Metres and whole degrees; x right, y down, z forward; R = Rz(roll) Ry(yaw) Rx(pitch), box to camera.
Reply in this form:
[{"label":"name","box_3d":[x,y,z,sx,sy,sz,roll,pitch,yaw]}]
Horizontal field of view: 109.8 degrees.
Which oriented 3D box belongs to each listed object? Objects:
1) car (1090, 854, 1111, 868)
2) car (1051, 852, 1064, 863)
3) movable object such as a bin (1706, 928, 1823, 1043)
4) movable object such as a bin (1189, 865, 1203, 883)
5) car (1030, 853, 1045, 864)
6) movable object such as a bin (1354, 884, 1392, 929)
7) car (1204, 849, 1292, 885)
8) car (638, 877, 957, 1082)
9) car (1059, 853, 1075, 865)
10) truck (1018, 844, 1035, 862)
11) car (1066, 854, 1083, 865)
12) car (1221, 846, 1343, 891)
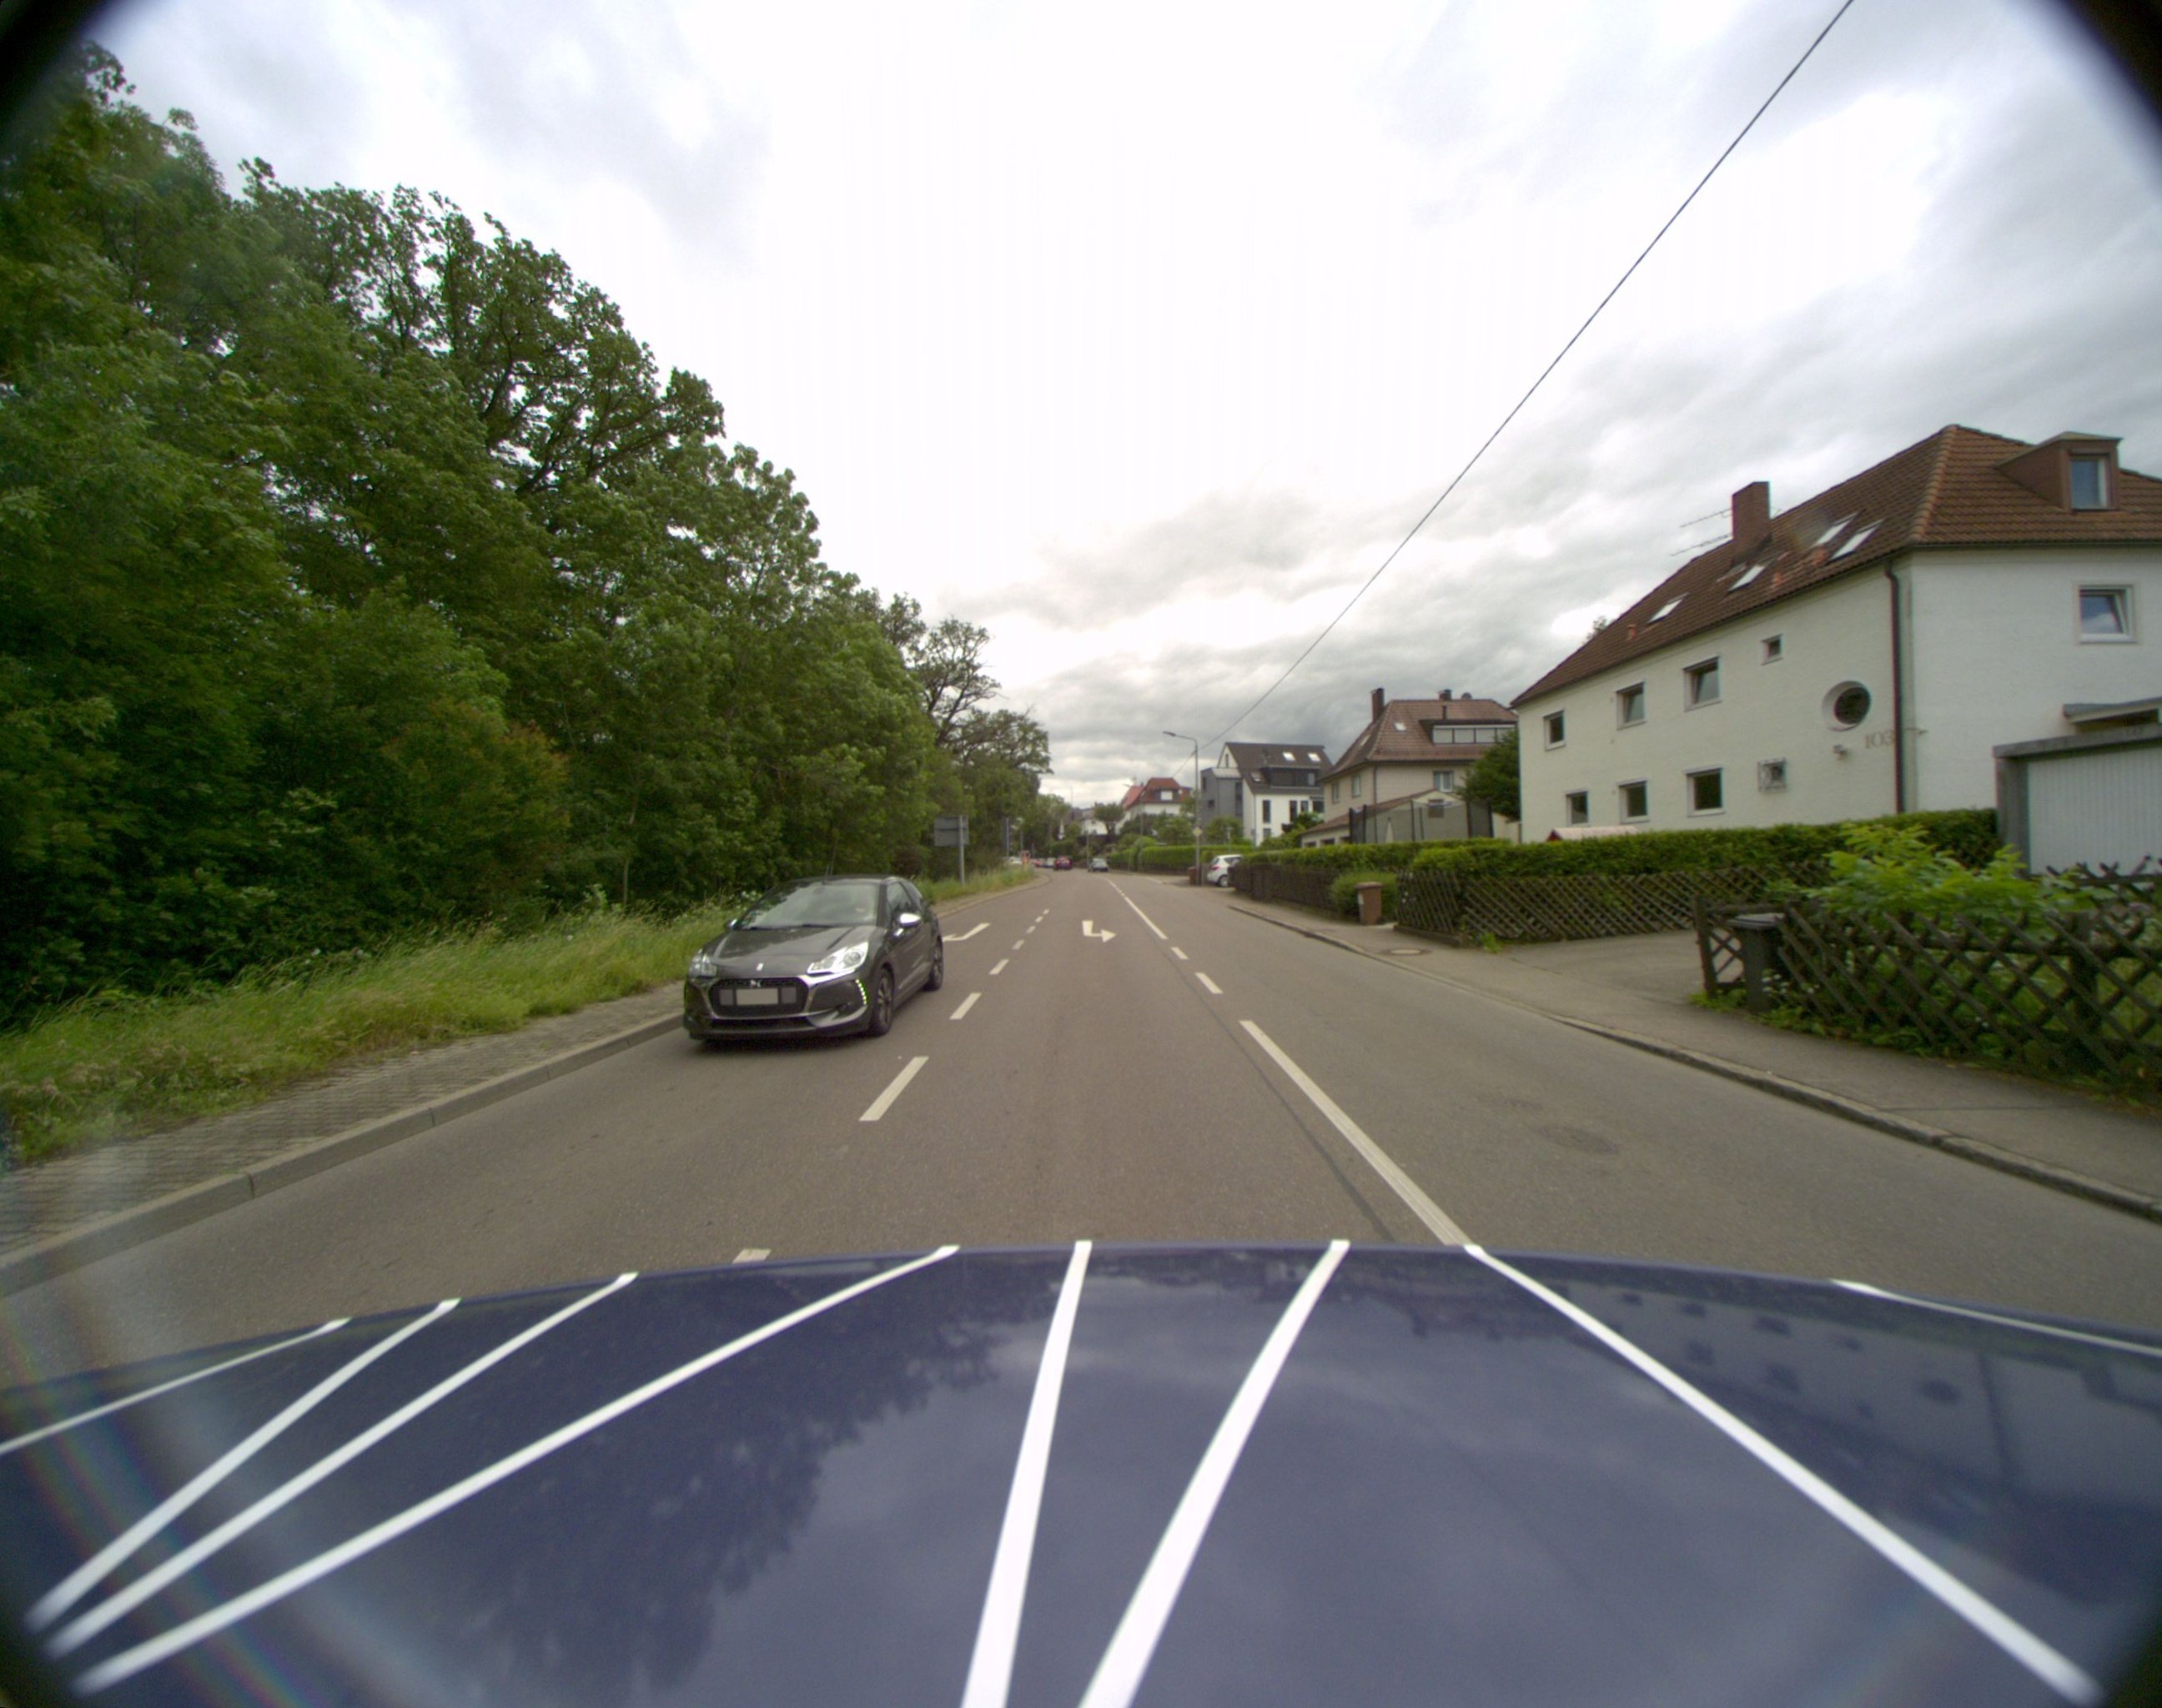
[{"label":"car","box_3d":[2.116,0.742,83.797,1.840,1.514,3.998,-1,0,-5]},{"label":"car","box_3d":[-3.709,0.496,121.154,1.833,1.665,3.997,-1,1,-5]},{"label":"movable object such as a bin","box_3d":[6.062,1.151,6.764,0.551,0.933,0.537,-1,1,2]},{"label":"movable object such as a bin","box_3d":[6.260,1.069,41.406,0.689,0.948,0.572,-1,1,11]},{"label":"car","box_3d":[-7.208,0.787,124.430,2.000,1.749,3.996,-1,0,-10]},{"label":"movable object such as a bin","box_3d":[6.238,1.110,16.237,0.634,0.907,0.561,-2,0,11]},{"label":"car","box_3d":[8.378,0.637,38.257,3.997,1.584,1.718,-3,0,1]},{"label":"car","box_3d":[-2.570,1.058,7.952,1.730,1.449,3.855,-2,0,2]},{"label":"car","box_3d":[-1.870,0.619,98.287,1.818,1.590,3.955,-1,0,-4]},{"label":"truck","box_3d":[-11.164,-0.202,155.630,3.008,3.618,7.083,-1,0,-8]},{"label":"car","box_3d":[-0.977,0.784,107.680,1.876,1.569,3.997,-1,0,-8]},{"label":"car","box_3d":[8.604,0.603,32.843,4.682,1.660,1.882,-3,0,-1]}]
